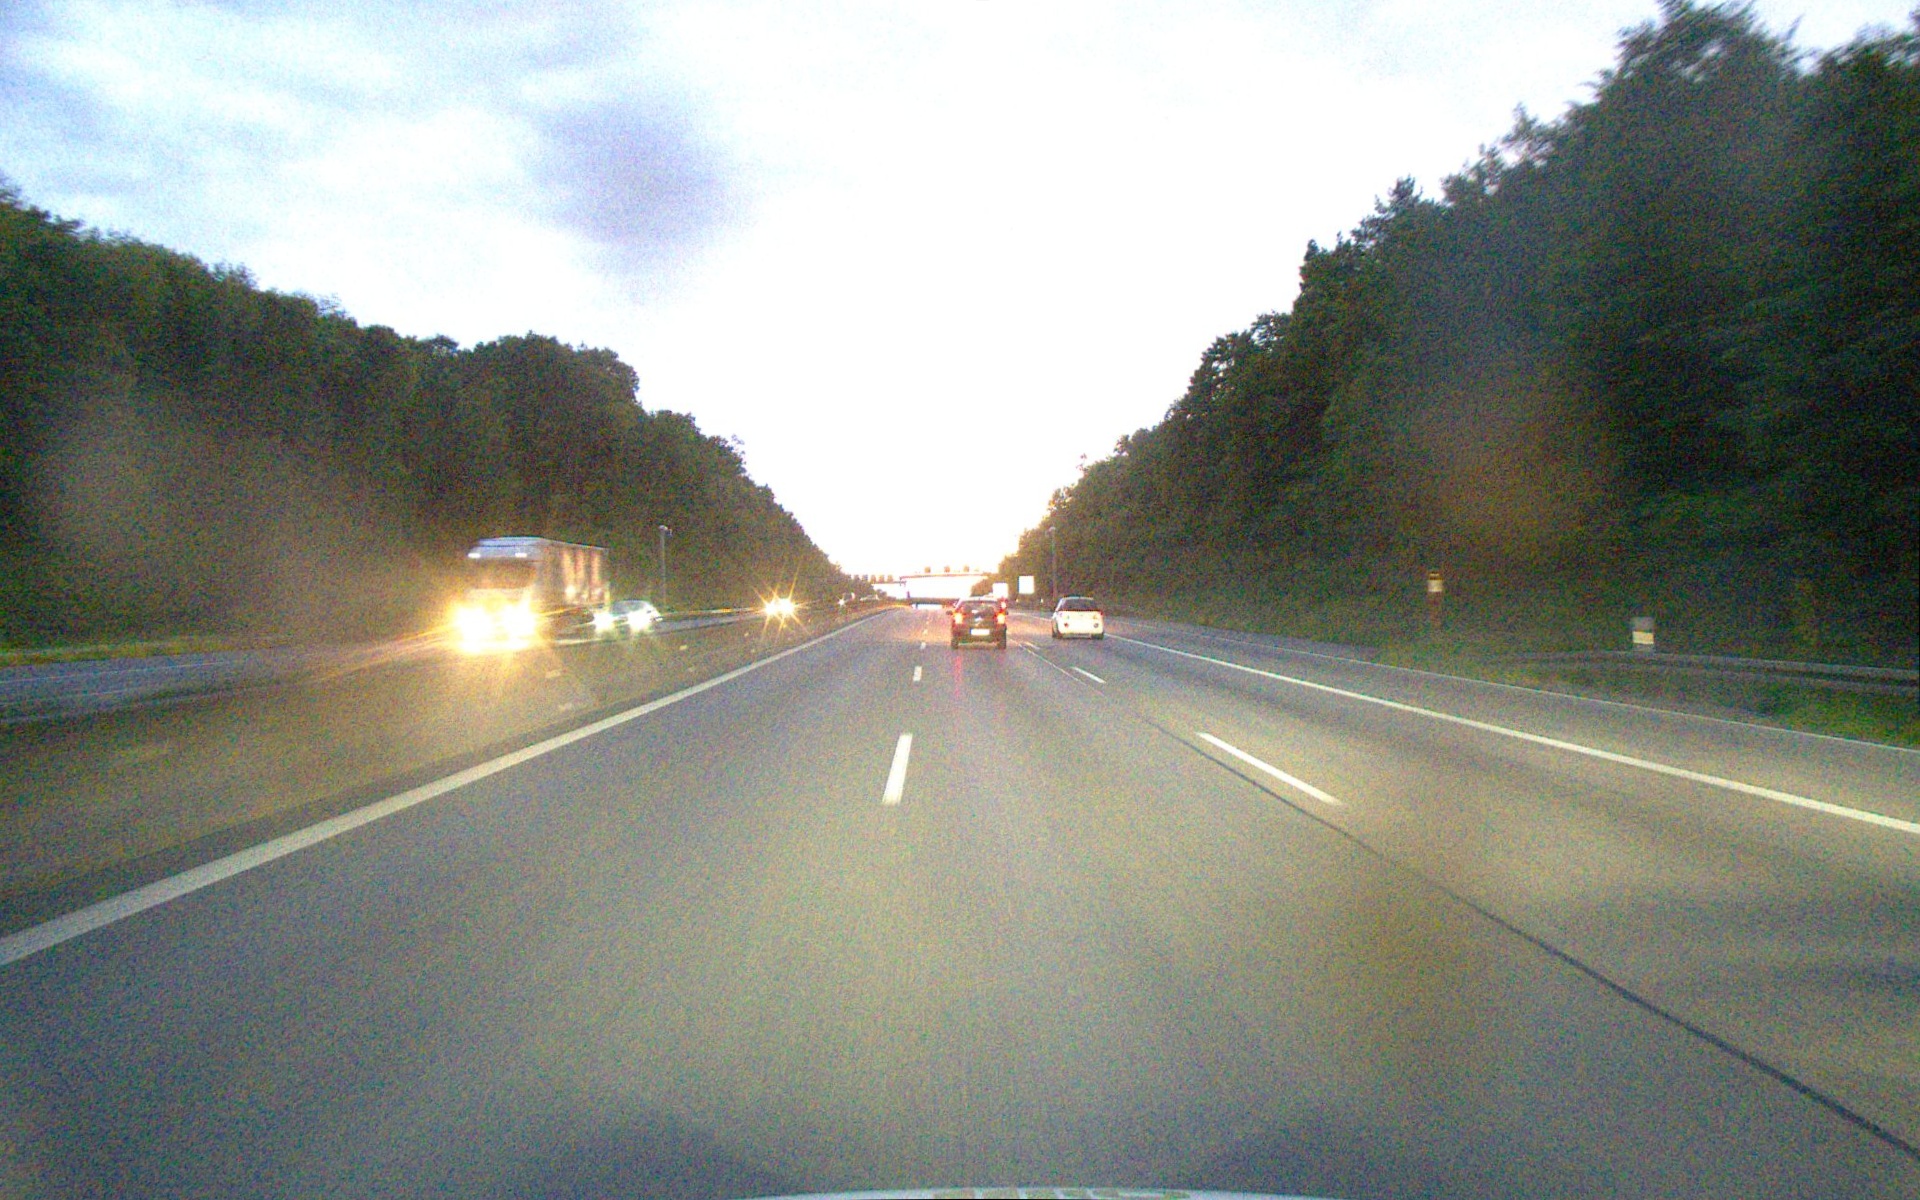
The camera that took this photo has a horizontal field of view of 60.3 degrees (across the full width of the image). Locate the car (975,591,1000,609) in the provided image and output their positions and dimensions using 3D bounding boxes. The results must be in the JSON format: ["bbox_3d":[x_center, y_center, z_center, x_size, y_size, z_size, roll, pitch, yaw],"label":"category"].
[{"bbox_3d":[2.483,0.051,151.291,1.829,1.520,4.393,1,-1,-5],"label":"car"}]

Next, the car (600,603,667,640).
[{"bbox_3d":[-13.962,0.881,71.024,1.871,1.477,5.353,0,0,0],"label":"car"}]

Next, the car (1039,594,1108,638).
[{"bbox_3d":[4.044,0.588,59.612,1.790,1.502,4.393,1,-1,-5],"label":"car"}]

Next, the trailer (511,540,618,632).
[{"bbox_3d":[-18.283,-0.629,77.144,2.593,3.999,10.184,0,0,0],"label":"trailer"}]

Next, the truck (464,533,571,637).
[{"bbox_3d":[-18.207,-0.592,68.445,2.593,4.041,7.120,0,0,-1],"label":"truck"}]

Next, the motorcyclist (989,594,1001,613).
[{"bbox_3d":[2.460,0.276,116.635,0.813,1.314,1.189,-1,-1,-1],"label":"motorcyclist"}]

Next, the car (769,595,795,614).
[{"bbox_3d":[-15.374,0.389,143.205,1.842,1.602,4.653,-1,0,-1],"label":"car"}]

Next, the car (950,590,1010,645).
[{"bbox_3d":[0.564,0.546,49.375,1.669,1.536,4.230,1,-1,-1],"label":"car"}]

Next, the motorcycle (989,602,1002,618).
[{"bbox_3d":[2.468,0.718,116.697,0.813,1.154,2.475,-1,-1,-1],"label":"motorcycle"}]
